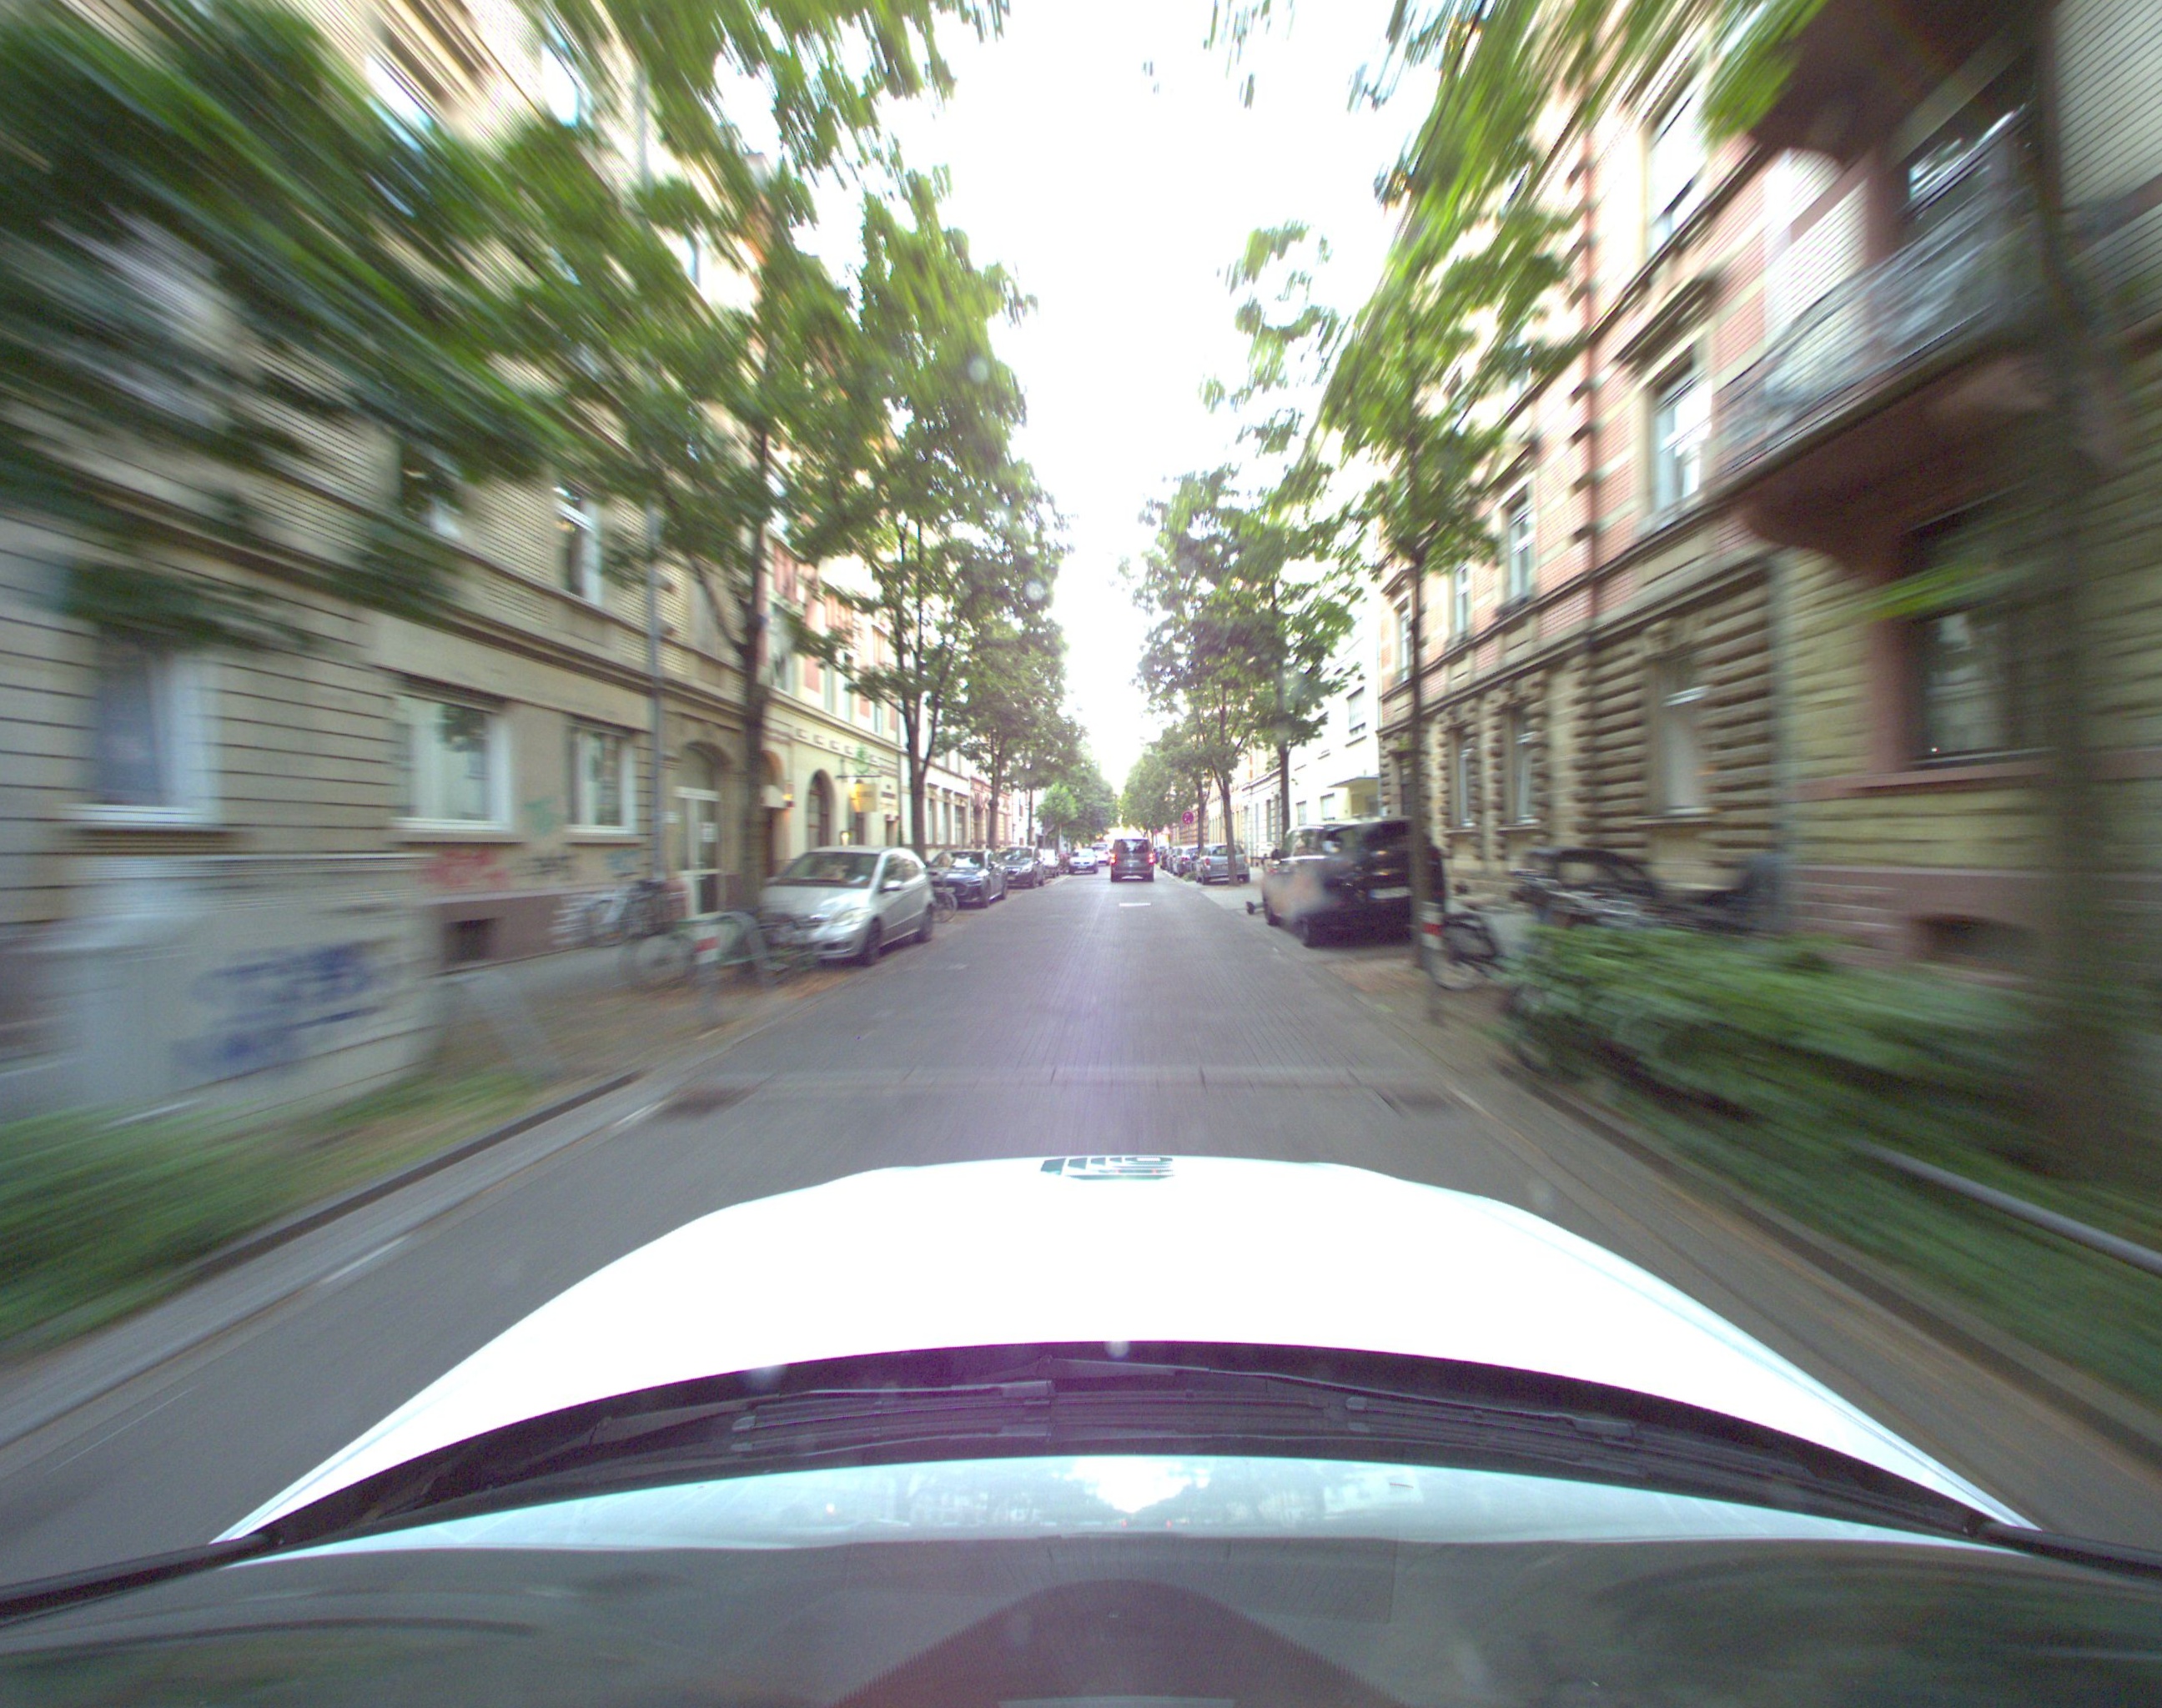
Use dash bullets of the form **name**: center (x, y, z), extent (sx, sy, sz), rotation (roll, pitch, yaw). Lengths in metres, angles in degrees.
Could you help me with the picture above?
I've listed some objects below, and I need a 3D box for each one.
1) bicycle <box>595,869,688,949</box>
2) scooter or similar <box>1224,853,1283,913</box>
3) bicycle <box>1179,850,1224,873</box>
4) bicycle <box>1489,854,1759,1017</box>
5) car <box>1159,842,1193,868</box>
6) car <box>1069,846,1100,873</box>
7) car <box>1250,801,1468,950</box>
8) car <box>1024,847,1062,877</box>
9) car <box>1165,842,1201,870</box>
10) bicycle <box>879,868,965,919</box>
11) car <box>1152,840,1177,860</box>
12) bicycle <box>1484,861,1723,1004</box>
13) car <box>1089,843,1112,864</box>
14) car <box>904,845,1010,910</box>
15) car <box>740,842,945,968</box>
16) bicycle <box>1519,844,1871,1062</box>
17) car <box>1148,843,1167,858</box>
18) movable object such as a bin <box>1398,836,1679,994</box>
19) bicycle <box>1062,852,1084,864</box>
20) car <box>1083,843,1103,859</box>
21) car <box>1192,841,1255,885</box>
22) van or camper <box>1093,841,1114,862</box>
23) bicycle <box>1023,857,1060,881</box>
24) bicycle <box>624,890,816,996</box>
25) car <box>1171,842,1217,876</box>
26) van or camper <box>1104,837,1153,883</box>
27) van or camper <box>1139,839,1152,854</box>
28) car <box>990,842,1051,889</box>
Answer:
- **bicycle**: center (-6.822, 0.816, 12.730), extent (0.459, 1.089, 1.631), rotation (2, 2, 4)
- **scooter or similar**: center (3.678, 0.606, 17.352), extent (0.667, 1.190, 1.123), rotation (-4, -1, 43)
- **bicycle**: center (5.425, 0.327, 36.797), extent (1.921, 0.982, 0.634), rotation (-2, 1, -19)
- **bicycle**: center (4.243, 0.627, 6.457), extent (1.688, 1.198, 0.583), rotation (-2, 1, 6)
- **car**: center (5.824, 0.018, 50.361), extent (1.759, 1.415, 4.478), rotation (-3, 0, 4)
- **car**: center (0.241, 0.292, 46.686), extent (1.573, 1.420, 3.756), rotation (-2, 0, 3)
- **car**: center (4.138, 0.251, 13.092), extent (2.005, 1.833, 4.815), rotation (-4, 1, 3)
- **car**: center (-1.918, 0.372, 41.966), extent (1.581, 1.437, 3.569), rotation (0, 1, 3)
- **car**: center (5.646, 0.111, 45.311), extent (1.629, 1.424, 3.566), rotation (-3, 0, 2)
- **bicycle**: center (-3.315, 0.813, 17.047), extent (1.676, 1.003, 0.430), rotation (1, 0, 4)
- **car**: center (6.702, -0.332, 65.318), extent (1.622, 1.466, 4.247), rotation (-2, 0, 1)
- **bicycle**: center (4.482, 0.666, 7.073), extent (1.649, 1.143, 0.583), rotation (-2, 1, 6)
- **car**: center (1.481, -0.056, 63.992), extent (1.658, 1.563, 4.000), rotation (-2, 0, 0)
- **car**: center (-3.101, 0.523, 21.289), extent (1.798, 1.518, 4.689), rotation (0, 1, 3)
- **car**: center (-3.394, 0.634, 12.383), extent (1.668, 1.607, 3.867), rotation (0, 1, 5)
- **bicycle**: center (4.162, 0.636, 5.642), extent (1.754, 1.294, 0.802), rotation (-4, 1, 2)
- **car**: center (7.712, -0.328, 82.643), extent (1.687, 1.401, 4.650), rotation (-2, 1, 3)
- **movable object such as a bin**: center (4.382, 0.570, 7.948), extent (2.205, 1.305, 0.772), rotation (-5, 0, 5)
- **bicycle**: center (-0.588, 0.298, 62.553), extent (1.708, 0.907, 0.380), rotation (-1, 0, -27)
- **car**: center (1.299, -0.327, 88.818), extent (1.985, 1.646, 4.926), rotation (0, 1, 3)
- **car**: center (5.281, 0.272, 30.557), extent (1.751, 1.463, 4.311), rotation (-2, 1, 3)
- **van or camper**: center (2.211, -0.275, 79.249), extent (1.870, 1.842, 4.755), rotation (-2, 1, 1)
- **bicycle**: center (-1.831, 0.674, 37.324), extent (0.672, 1.085, 1.805), rotation (0, -1, -44)
- **bicycle**: center (-3.920, 0.947, 8.995), extent (1.868, 1.060, 0.593), rotation (0, 0, -16)
- **car**: center (5.449, 0.179, 39.700), extent (1.710, 1.476, 4.370), rotation (-3, 1, 1)
- **van or camper**: center (2.171, 0.221, 36.354), extent (2.025, 1.897, 4.277), rotation (-1, 0, 5)
- **van or camper**: center (11.211, -1.274, 141.850), extent (1.986, 2.599, 5.427), rotation (-1, 0, 2)
- **car**: center (-2.178, 0.368, 30.393), extent (1.699, 1.580, 4.083), rotation (0, 1, 4)
